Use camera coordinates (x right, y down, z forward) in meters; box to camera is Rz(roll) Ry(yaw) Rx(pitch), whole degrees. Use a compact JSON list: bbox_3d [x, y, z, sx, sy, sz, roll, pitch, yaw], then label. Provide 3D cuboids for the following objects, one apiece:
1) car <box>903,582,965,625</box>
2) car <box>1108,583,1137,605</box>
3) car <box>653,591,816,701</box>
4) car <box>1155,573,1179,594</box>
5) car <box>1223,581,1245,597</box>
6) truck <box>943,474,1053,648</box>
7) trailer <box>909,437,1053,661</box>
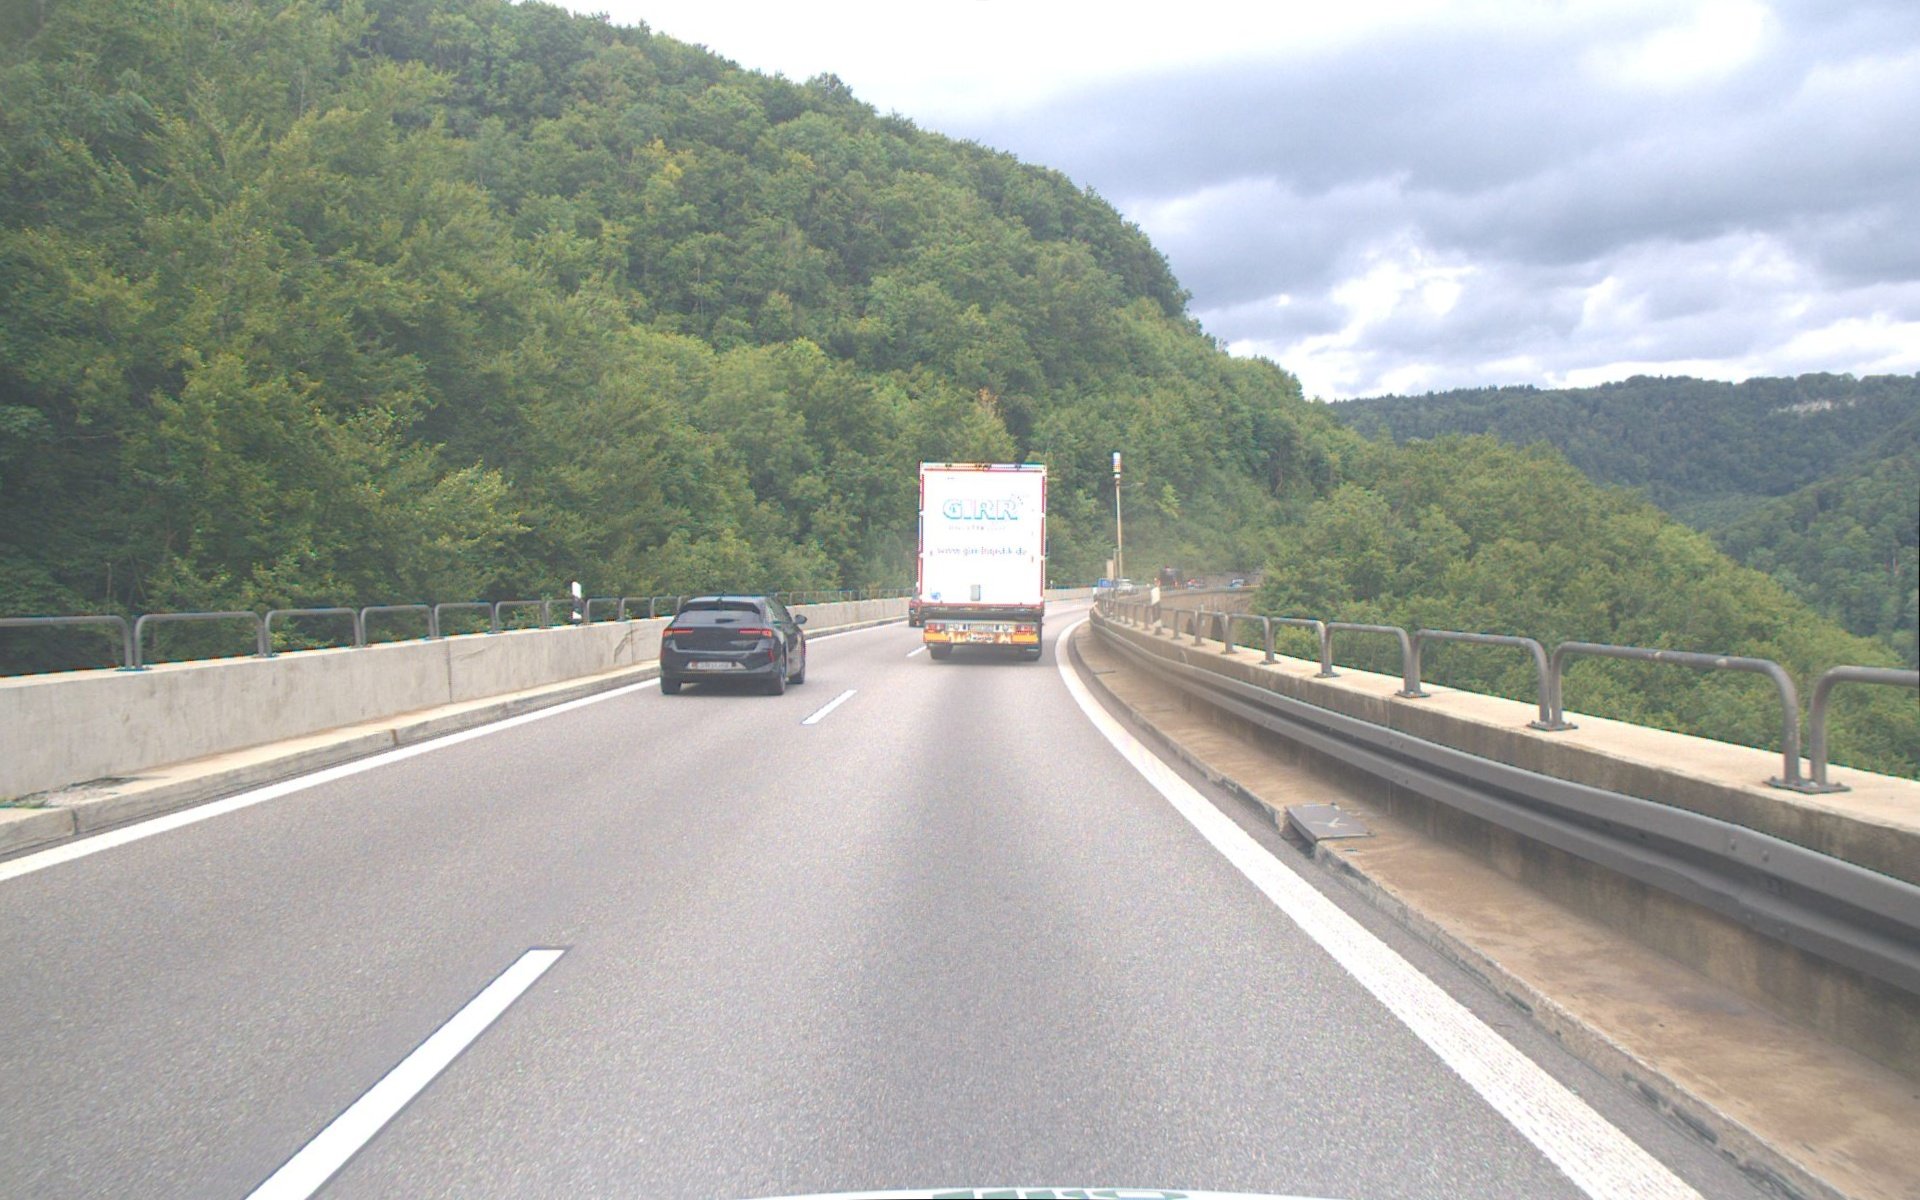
[{"bbox_3d":[-0.916,0.135,61.161,1.843,1.536,4.421,0,0,5],"label":"car"},{"bbox_3d":[14.371,-0.507,146.139,1.951,1.825,4.003,0,-1,13],"label":"car"},{"bbox_3d":[-3.289,0.622,24.974,1.737,1.486,4.582,0,0,1],"label":"car"},{"bbox_3d":[21.304,-1.673,170.107,1.951,2.049,4.003,0,-1,14],"label":"car"},{"bbox_3d":[31.614,-1.236,191.070,1.951,1.825,4.002,0,-1,18],"label":"car"},{"bbox_3d":[1.132,-0.979,45.127,2.754,4.378,6.261,0,0,3],"label":"truck"},{"bbox_3d":[0.746,-0.990,38.594,2.754,4.378,12.250,0,0,3],"label":"trailer"}]
